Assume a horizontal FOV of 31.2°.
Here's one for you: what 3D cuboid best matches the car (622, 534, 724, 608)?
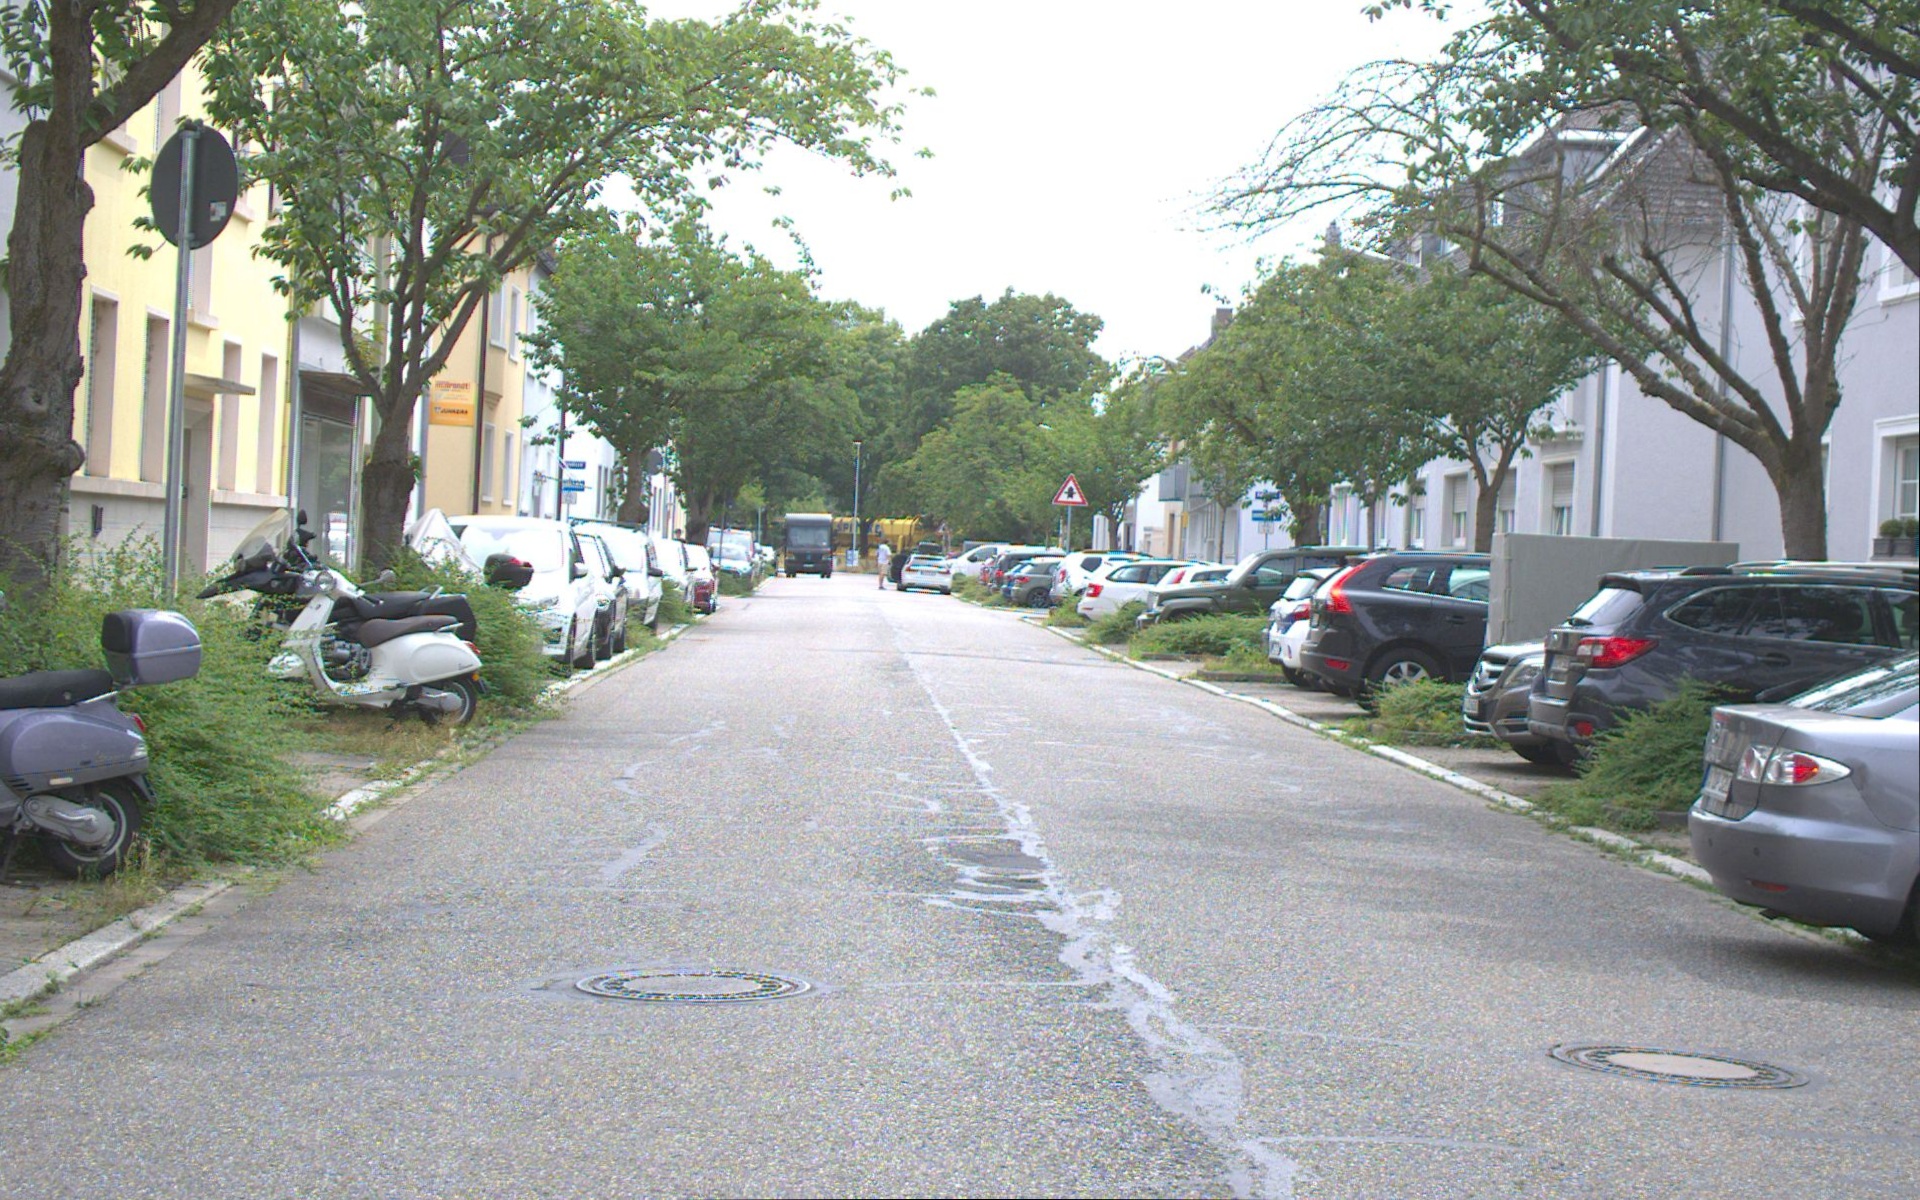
[{"bbox_3d":[-5.900,-0.605,71.188,1.877,1.481,4.513,0,1,-2],"label":"car"}]

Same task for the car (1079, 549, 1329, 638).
[{"bbox_3d":[4.626,-0.136,65.626,4.614,1.658,1.892,0,1,-1],"label":"car"}]

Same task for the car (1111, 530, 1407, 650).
[{"bbox_3d":[4.694,-0.167,54.432,4.525,1.852,1.793,0,1,1],"label":"car"}]

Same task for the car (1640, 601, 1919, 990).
[{"bbox_3d":[4.946,0.748,13.928,3.986,1.450,1.767,0,1,-2],"label":"car"}]

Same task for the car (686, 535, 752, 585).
[{"bbox_3d":[-7.660,-1.269,109.593,1.763,1.549,3.730,0,1,1],"label":"car"}]

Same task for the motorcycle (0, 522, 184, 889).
[{"bbox_3d":[-4.067,0.398,13.430,2.011,1.402,0.793,0,0,-13],"label":"motorcycle"}]

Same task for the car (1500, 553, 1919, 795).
[{"bbox_3d":[6.033,0.483,23.749,4.214,1.592,1.904,0,1,-4],"label":"car"}]

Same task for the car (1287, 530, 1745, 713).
[{"bbox_3d":[5.428,0.193,33.982,4.214,1.730,1.904,0,1,0],"label":"car"}]

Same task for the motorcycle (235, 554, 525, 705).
[{"bbox_3d":[-5.106,0.255,30.347,2.448,1.307,0.643,0,0,-1],"label":"motorcycle"}]

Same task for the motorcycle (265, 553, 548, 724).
[{"bbox_3d":[-3.950,0.261,24.583,1.905,1.187,0.597,0,1,-28],"label":"motorcycle"}]

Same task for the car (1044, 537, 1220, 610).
[{"bbox_3d":[3.957,-0.615,79.494,3.923,1.627,1.868,0,1,-1],"label":"car"}]

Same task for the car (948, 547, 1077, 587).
[{"bbox_3d":[2.061,-1.297,135.387,4.974,1.513,1.769,0,1,-3],"label":"car"}]

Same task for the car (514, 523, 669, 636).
[{"bbox_3d":[-5.361,-0.311,50.502,1.918,1.576,4.382,0,1,-2],"label":"car"}]

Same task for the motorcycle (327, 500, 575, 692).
[{"bbox_3d":[-4.757,-0.055,31.973,2.473,1.670,0.936,3,1,45],"label":"motorcycle"}]

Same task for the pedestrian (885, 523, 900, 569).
[{"bbox_3d":[-2.508,-2.005,126.861,0.522,1.698,0.444,0,0,2],"label":"pedestrian"}]

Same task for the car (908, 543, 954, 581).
[{"bbox_3d":[-1.084,-1.405,127.043,1.687,1.349,3.826,0,1,-1],"label":"car"}]

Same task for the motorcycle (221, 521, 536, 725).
[{"bbox_3d":[-4.323,0.162,25.620,2.231,1.476,0.597,0,1,-28],"label":"motorcycle"}]

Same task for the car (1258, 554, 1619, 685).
[{"bbox_3d":[5.709,0.218,41.281,3.986,1.525,1.768,0,1,-5],"label":"car"}]

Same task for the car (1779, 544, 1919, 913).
[{"bbox_3d":[6.271,0.584,16.502,4.214,1.672,1.904,0,1,0],"label":"car"}]

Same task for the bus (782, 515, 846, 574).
[{"bbox_3d":[-7.096,-2.684,166.914,3.003,2.752,8.925,0,1,-3],"label":"bus"}]

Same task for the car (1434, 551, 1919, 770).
[{"bbox_3d":[5.901,0.438,26.208,4.214,1.592,1.904,0,1,-4],"label":"car"}]

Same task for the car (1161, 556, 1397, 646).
[{"bbox_3d":[5.267,0.014,57.075,3.624,1.449,1.773,0,1,-6],"label":"car"}]

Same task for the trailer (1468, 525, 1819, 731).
[{"bbox_3d":[6.246,0.243,31.608,2.961,1.825,1.400,0,1,2],"label":"trailer"}]

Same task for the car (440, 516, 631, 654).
[{"bbox_3d":[-5.106,-0.181,41.884,1.790,1.487,4.812,3,0,-2],"label":"car"}]

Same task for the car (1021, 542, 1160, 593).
[{"bbox_3d":[3.589,-0.901,95.179,3.747,1.361,1.773,0,1,-1],"label":"car"}]

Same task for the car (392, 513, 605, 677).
[{"bbox_3d":[-4.739,-0.072,35.820,1.757,1.551,4.256,2,1,-2],"label":"car"}]
